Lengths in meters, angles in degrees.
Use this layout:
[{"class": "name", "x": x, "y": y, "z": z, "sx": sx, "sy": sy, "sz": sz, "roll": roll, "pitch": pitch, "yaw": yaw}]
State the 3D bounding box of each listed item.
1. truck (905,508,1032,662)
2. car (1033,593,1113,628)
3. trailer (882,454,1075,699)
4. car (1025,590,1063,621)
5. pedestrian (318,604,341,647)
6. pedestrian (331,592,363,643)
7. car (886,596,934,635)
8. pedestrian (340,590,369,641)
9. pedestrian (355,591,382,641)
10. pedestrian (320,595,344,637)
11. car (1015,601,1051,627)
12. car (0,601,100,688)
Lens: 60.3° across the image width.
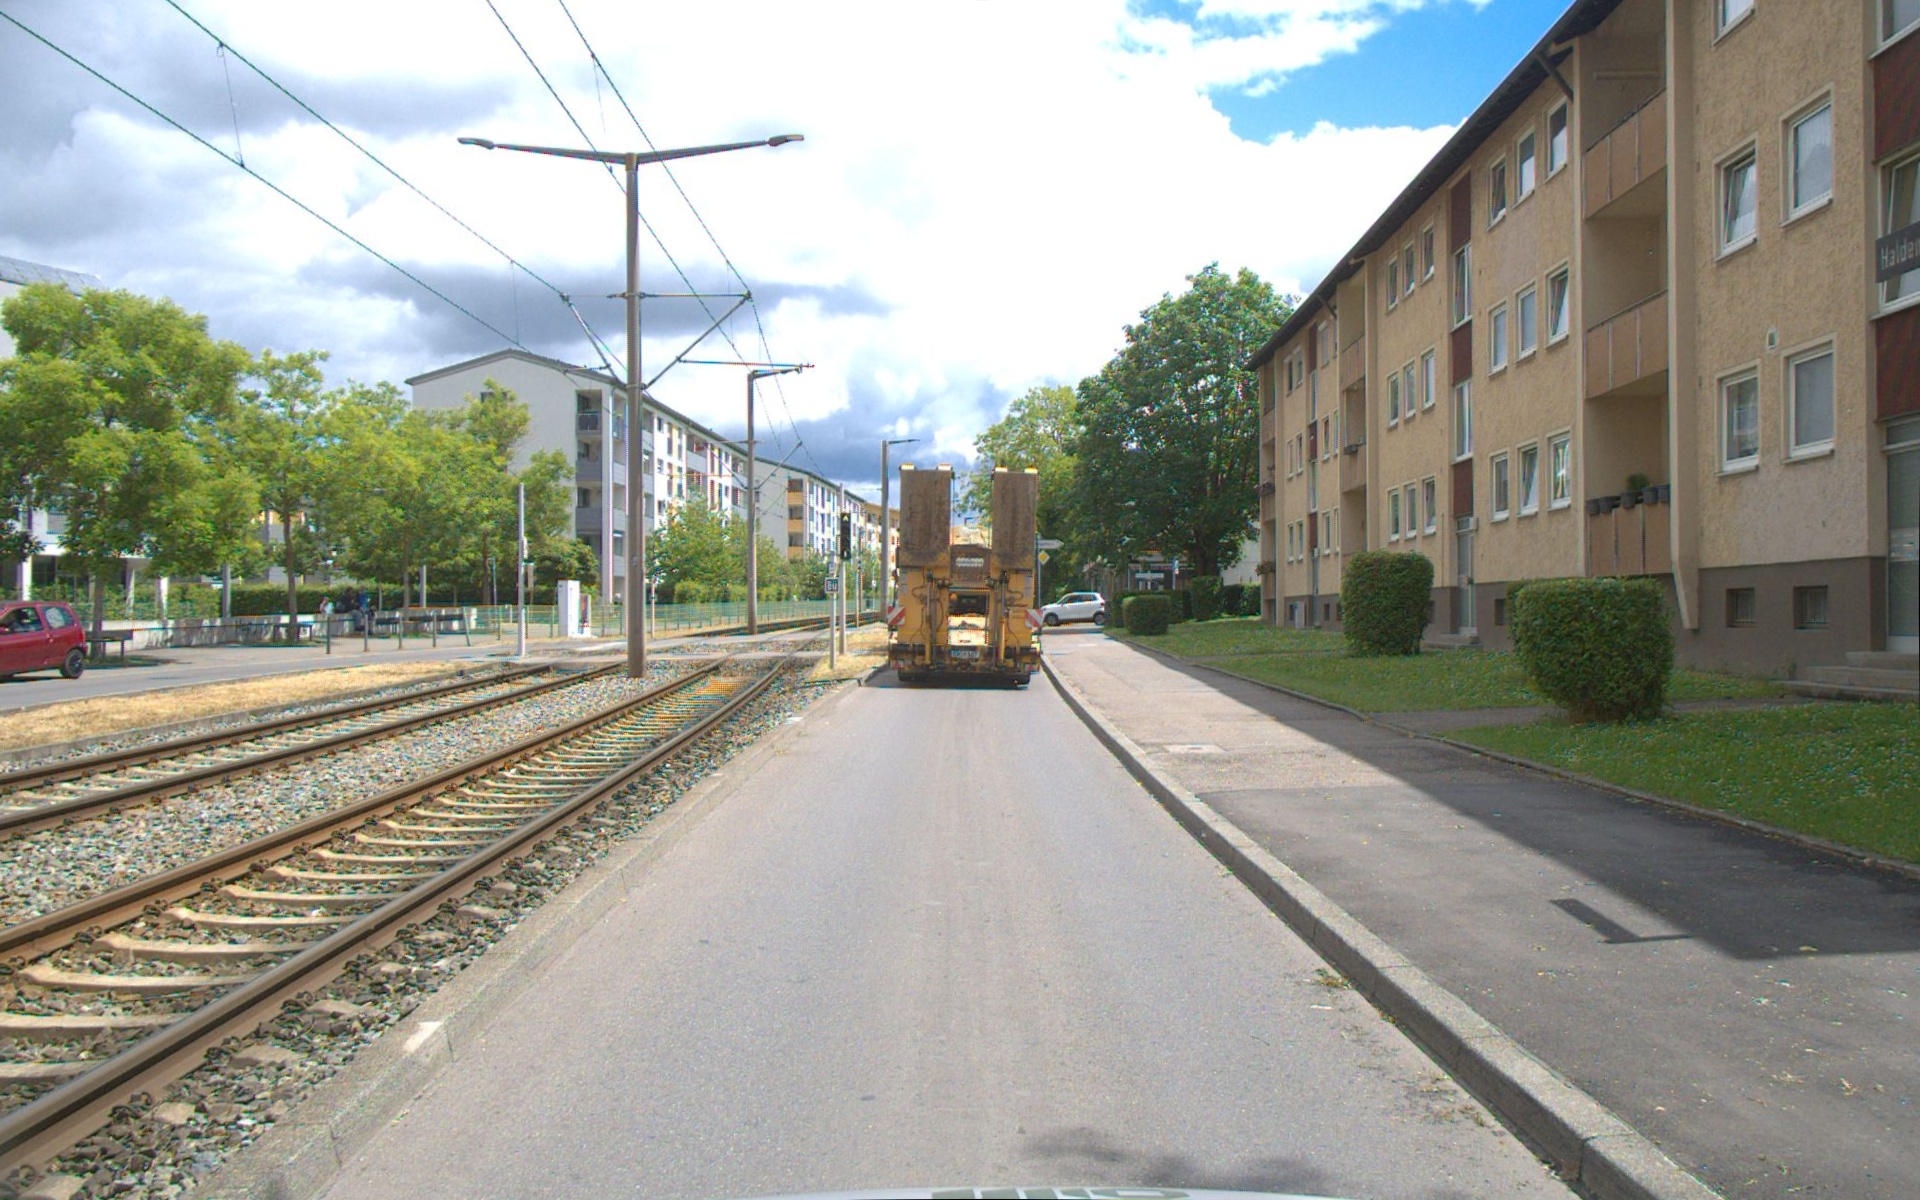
[{"class": "truck", "x": 0.099, "y": -0.395, "z": 41.365, "sx": 2.776, "sy": 3.388, "sz": 7.983, "roll": -2, "pitch": 1, "yaw": -1}, {"class": "car", "x": 5.476, "y": 0.502, "z": 79.952, "sx": 3.521, "sy": 1.612, "sz": 2.002, "roll": -2, "pitch": -1, "yaw": 13}, {"class": "trailer", "x": 0.178, "y": -0.463, "z": 32.315, "sx": 2.989, "sy": 3.838, "sz": 11.610, "roll": -2, "pitch": 1, "yaw": -1}, {"class": "car", "x": 4.763, "y": 0.277, "z": 93.920, "sx": 1.952, "sy": 1.646, "sz": 4.001, "roll": -2, "pitch": 1, "yaw": 1}, {"class": "pedestrian", "x": -23.286, "y": 0.947, "z": 61.102, "sx": 0.533, "sy": 1.574, "sz": 0.529, "roll": -1, "pitch": 1, "yaw": 22}, {"class": "pedestrian", "x": -19.537, "y": 0.551, "z": 52.712, "sx": 0.609, "sy": 1.600, "sz": 0.699, "roll": -1, "pitch": 1, "yaw": 12}, {"class": "car", "x": -2.274, "y": 0.713, "z": 75.637, "sx": 1.764, "sy": 1.681, "sz": 4.133, "roll": -2, "pitch": -1, "yaw": 4}, {"class": "pedestrian", "x": -19.556, "y": 0.503, "z": 53.421, "sx": 0.609, "sy": 1.600, "sz": 0.558, "roll": -1, "pitch": 1, "yaw": 12}, {"class": "pedestrian", "x": -19.391, "y": 0.522, "z": 54.203, "sx": 0.609, "sy": 1.600, "sz": 0.558, "roll": -2, "pitch": 1, "yaw": 6}, {"class": "pedestrian", "x": -19.522, "y": 0.484, "z": 51.424, "sx": 0.488, "sy": 1.289, "sz": 0.501, "roll": -1, "pitch": 1, "yaw": 4}, {"class": "car", "x": 4.362, "y": 0.845, "z": 99.054, "sx": 1.952, "sy": 1.411, "sz": 4.001, "roll": -2, "pitch": 1, "yaw": 1}, {"class": "car", "x": -17.219, "y": 0.800, "z": 29.538, "sx": 1.579, "sy": 1.451, "sz": 3.426, "roll": -2, "pitch": 1, "yaw": 7}]
